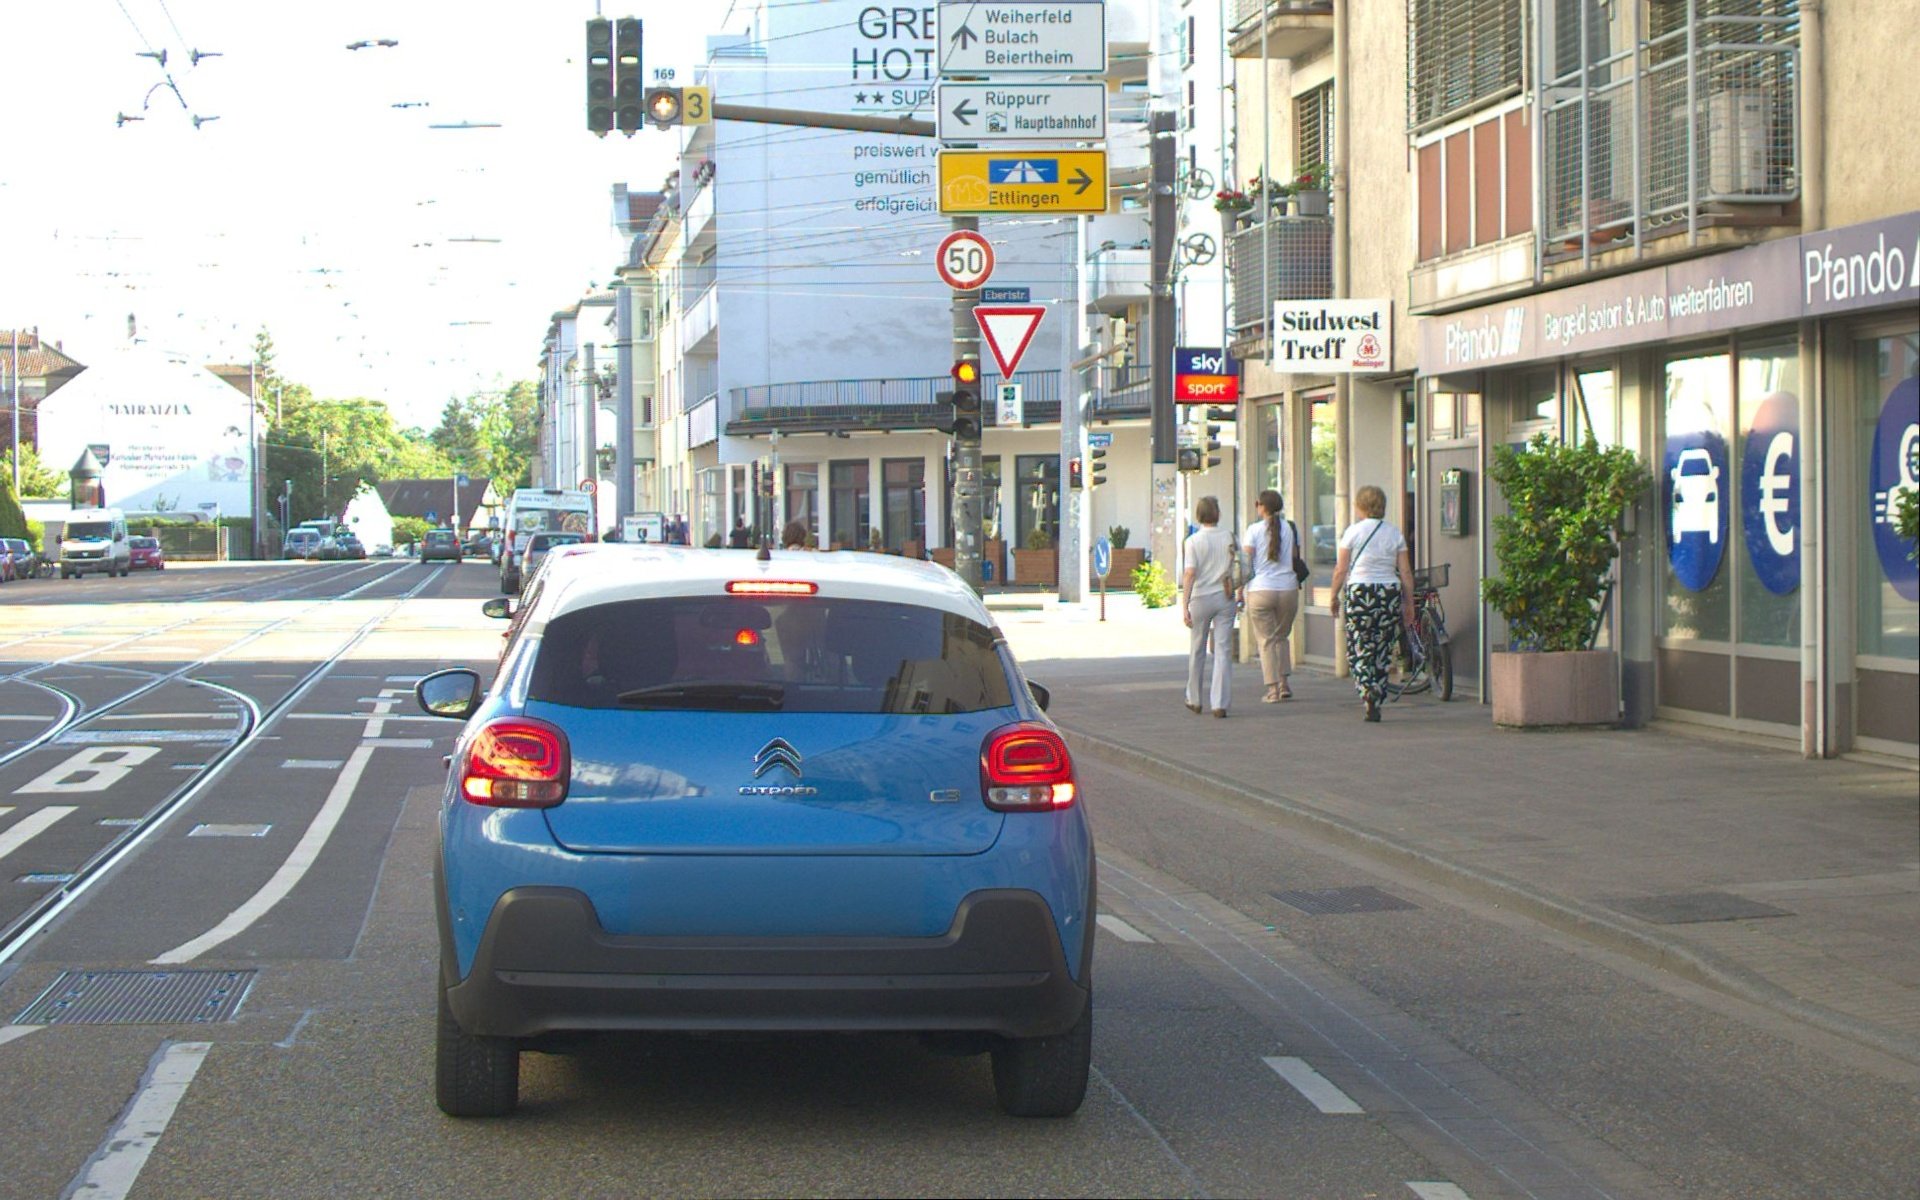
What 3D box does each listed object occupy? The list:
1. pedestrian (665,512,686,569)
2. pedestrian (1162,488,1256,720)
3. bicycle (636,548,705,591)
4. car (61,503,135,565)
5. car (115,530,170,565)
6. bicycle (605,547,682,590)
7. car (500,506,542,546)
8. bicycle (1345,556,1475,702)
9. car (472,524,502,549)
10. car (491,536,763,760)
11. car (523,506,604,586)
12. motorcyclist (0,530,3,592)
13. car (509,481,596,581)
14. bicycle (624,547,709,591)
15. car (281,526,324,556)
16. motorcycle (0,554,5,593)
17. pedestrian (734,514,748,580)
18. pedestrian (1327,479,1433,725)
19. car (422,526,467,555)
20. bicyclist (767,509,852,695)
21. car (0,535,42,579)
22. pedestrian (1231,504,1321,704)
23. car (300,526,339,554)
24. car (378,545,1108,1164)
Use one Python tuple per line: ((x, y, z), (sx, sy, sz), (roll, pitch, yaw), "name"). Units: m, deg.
((-7.852, -1.645, 94.901), (0.491, 1.550, 0.648), (-1, 1, -13), "pedestrian")
((1.840, 0.022, 25.458), (0.541, 1.666, 0.624), (-2, 3, -6), "pedestrian")
((-6.427, -0.680, 76.369), (1.503, 0.953, 0.702), (-1, 1, -3), "bicycle")
((-32.047, -2.479, 127.944), (2.206, 2.243, 4.678), (-1, 1, -8), "car")
((-36.396, -2.335, 153.092), (2.021, 1.520, 4.001), (0, 1, -9), "car")
((-7.241, -0.722, 78.736), (1.720, 0.953, 0.702), (-1, 1, -3), "bicycle")
((-18.044, -3.040, 141.315), (1.688, 1.612, 4.001), (1, 1, -7), "car")
((3.477, 0.205, 26.682), (0.530, 1.068, 1.811), (-1, 1, -8), "bicycle")
((-34.861, -4.691, 253.521), (1.993, 1.787, 4.001), (0, 1, -5), "car")
((-2.303, 0.269, 24.120), (1.738, 1.415, 4.001), (0, 1, -5), "car")
((-8.975, -1.217, 77.717), (1.732, 1.744, 3.214), (1, 1, -8), "car")
((-21.736, -0.855, 76.406), (0.719, 1.373, 0.911), (-1, 1, -4), "motorcyclist")
((-9.809, -1.644, 82.579), (1.993, 2.317, 4.001), (1, 1, -8), "car")
((-6.605, -0.698, 77.419), (1.873, 0.953, 0.702), (-1, 1, -3), "bicycle")
((-34.026, -3.072, 178.073), (2.021, 1.520, 4.001), (0, 1, -9), "car")
((-21.757, -0.572, 76.566), (0.615, 0.861, 1.671), (-1, 1, -4), "motorcycle")
((-5.136, -1.242, 80.620), (0.284, 1.550, 0.305), (-1, 1, -13), "pedestrian")
((2.911, 0.007, 23.859), (0.541, 1.666, 0.650), (-2, 1, -6), "pedestrian")
((-22.782, -2.621, 151.789), (1.754, 1.255, 3.833), (0, 1, -11), "car")
((-1.355, 0.008, 30.904), (0.726, 1.640, 0.790), (0, 1, -5), "bicyclist")
((-34.502, -1.576, 124.666), (1.870, 1.568, 4.001), (0, 1, -8), "car")
((2.465, 0.023, 26.825), (0.541, 1.502, 0.611), (-2, 3, -6), "pedestrian")
((-36.402, -3.401, 195.338), (2.021, 1.520, 4.001), (-1, 1, -9), "car")
((-0.567, 0.587, 10.319), (1.744, 1.457, 4.000), (1, 1, -1), "car")
